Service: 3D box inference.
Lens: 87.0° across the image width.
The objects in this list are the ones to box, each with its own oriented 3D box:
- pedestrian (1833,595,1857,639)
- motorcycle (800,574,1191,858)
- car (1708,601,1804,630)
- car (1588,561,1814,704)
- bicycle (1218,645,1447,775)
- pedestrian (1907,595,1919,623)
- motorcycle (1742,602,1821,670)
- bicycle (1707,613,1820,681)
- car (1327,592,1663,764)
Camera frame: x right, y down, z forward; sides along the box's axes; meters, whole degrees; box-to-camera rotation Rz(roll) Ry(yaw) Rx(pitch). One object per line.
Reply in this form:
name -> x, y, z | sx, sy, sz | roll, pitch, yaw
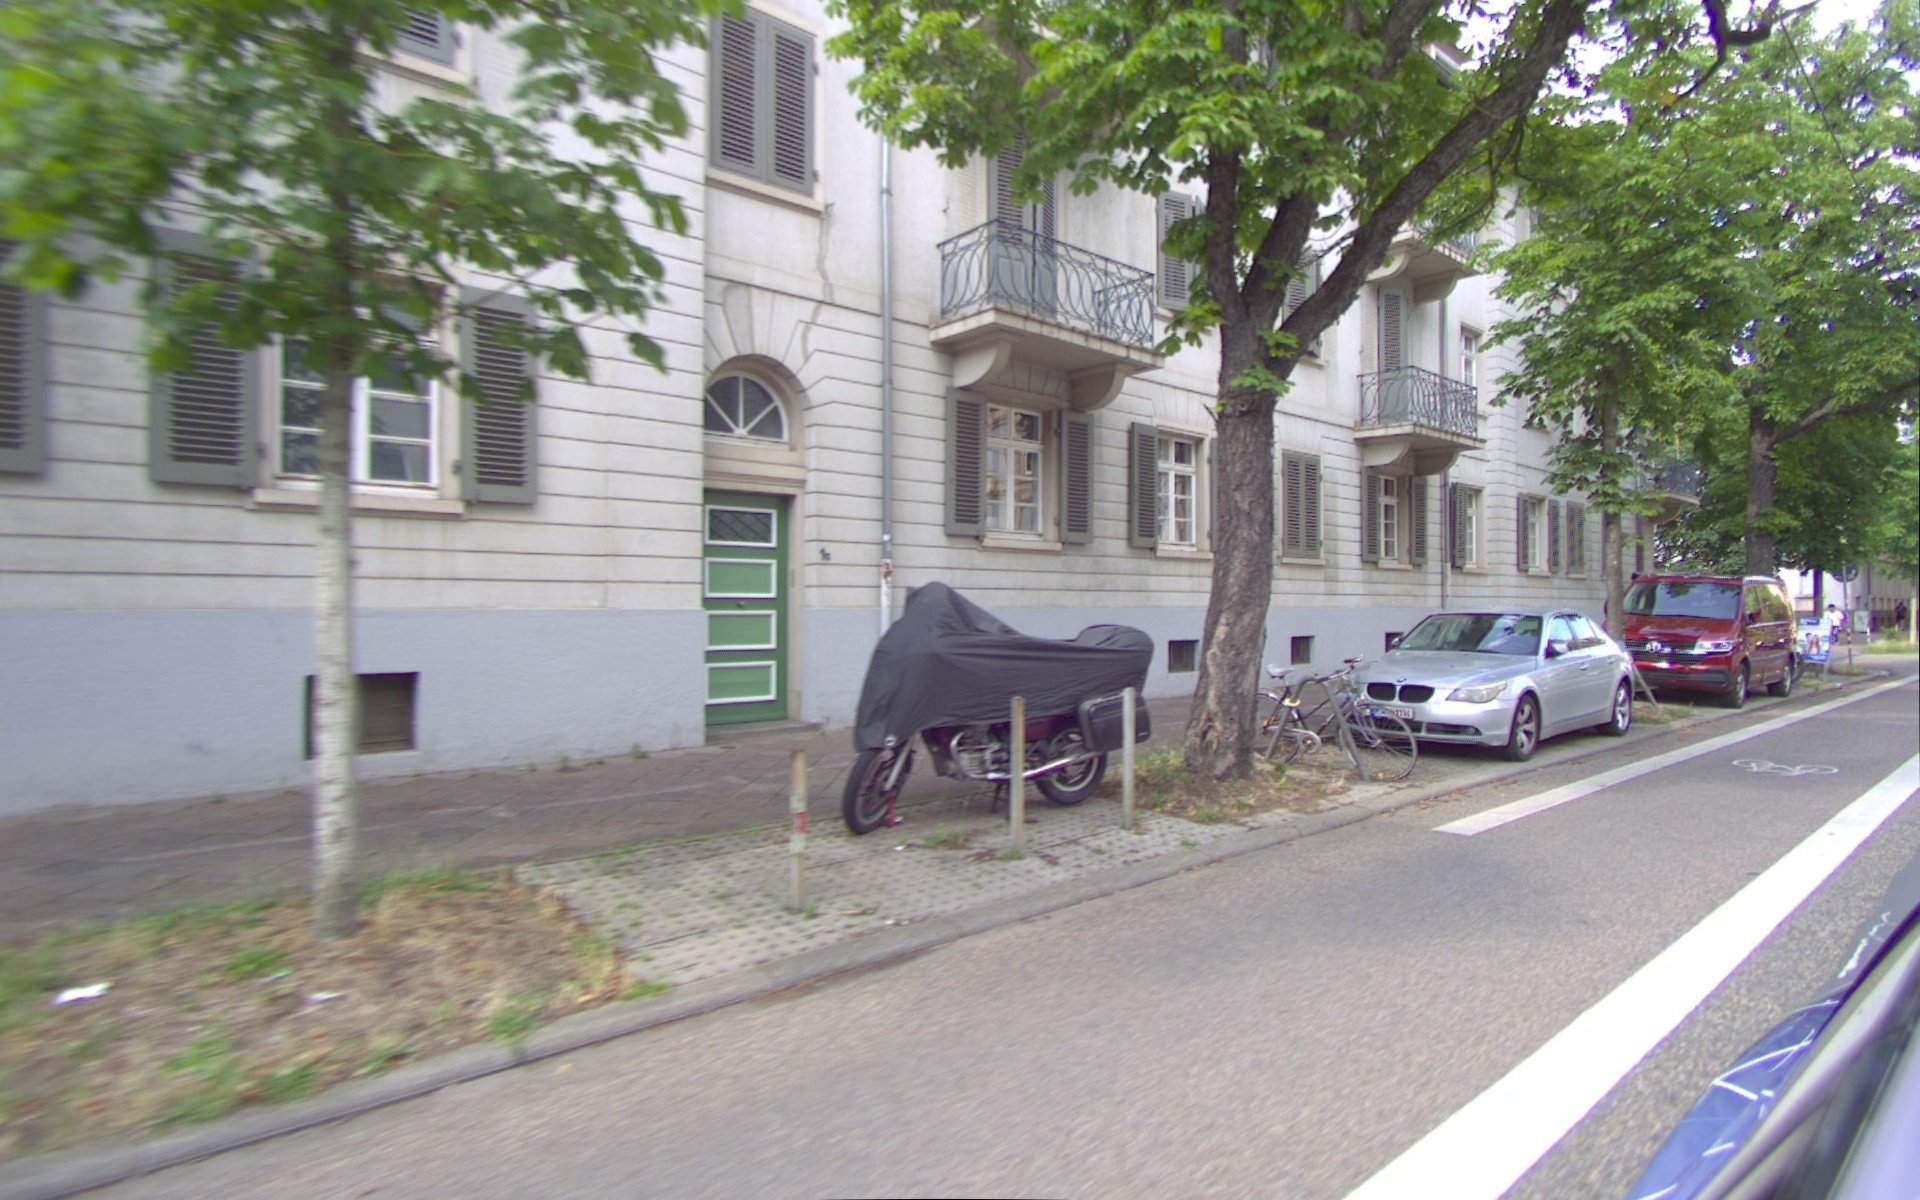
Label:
pedestrian -> 37.762, 0.717, 43.195 | 1.012, 1.857, 0.618 | 1, -1, -41
motorcycle -> 0.259, 0.638, 6.600 | 2.391, 1.561, 0.984 | 0, 0, -29
car -> 41.515, 0.771, 52.849 | 1.695, 1.470, 3.581 | 0, 0, -17
car -> 11.940, 0.442, 16.177 | 4.864, 1.965, 1.898 | 0, 0, -41
bicycle -> 3.166, 0.890, 8.746 | 0.679, 0.914, 1.781 | 0, 0, -37
pedestrian -> 55.457, 0.519, 58.731 | 0.959, 1.660, 0.581 | 1, -1, -41
motorcycle -> 17.254, 0.722, 21.233 | 2.402, 1.338, 0.859 | 0, -1, -40
bicycle -> 15.184, 0.870, 19.153 | 0.580, 1.218, 1.611 | 0, -1, -43
car -> 6.030, 0.688, 11.128 | 4.705, 1.517, 1.710 | 0, 0, -41
